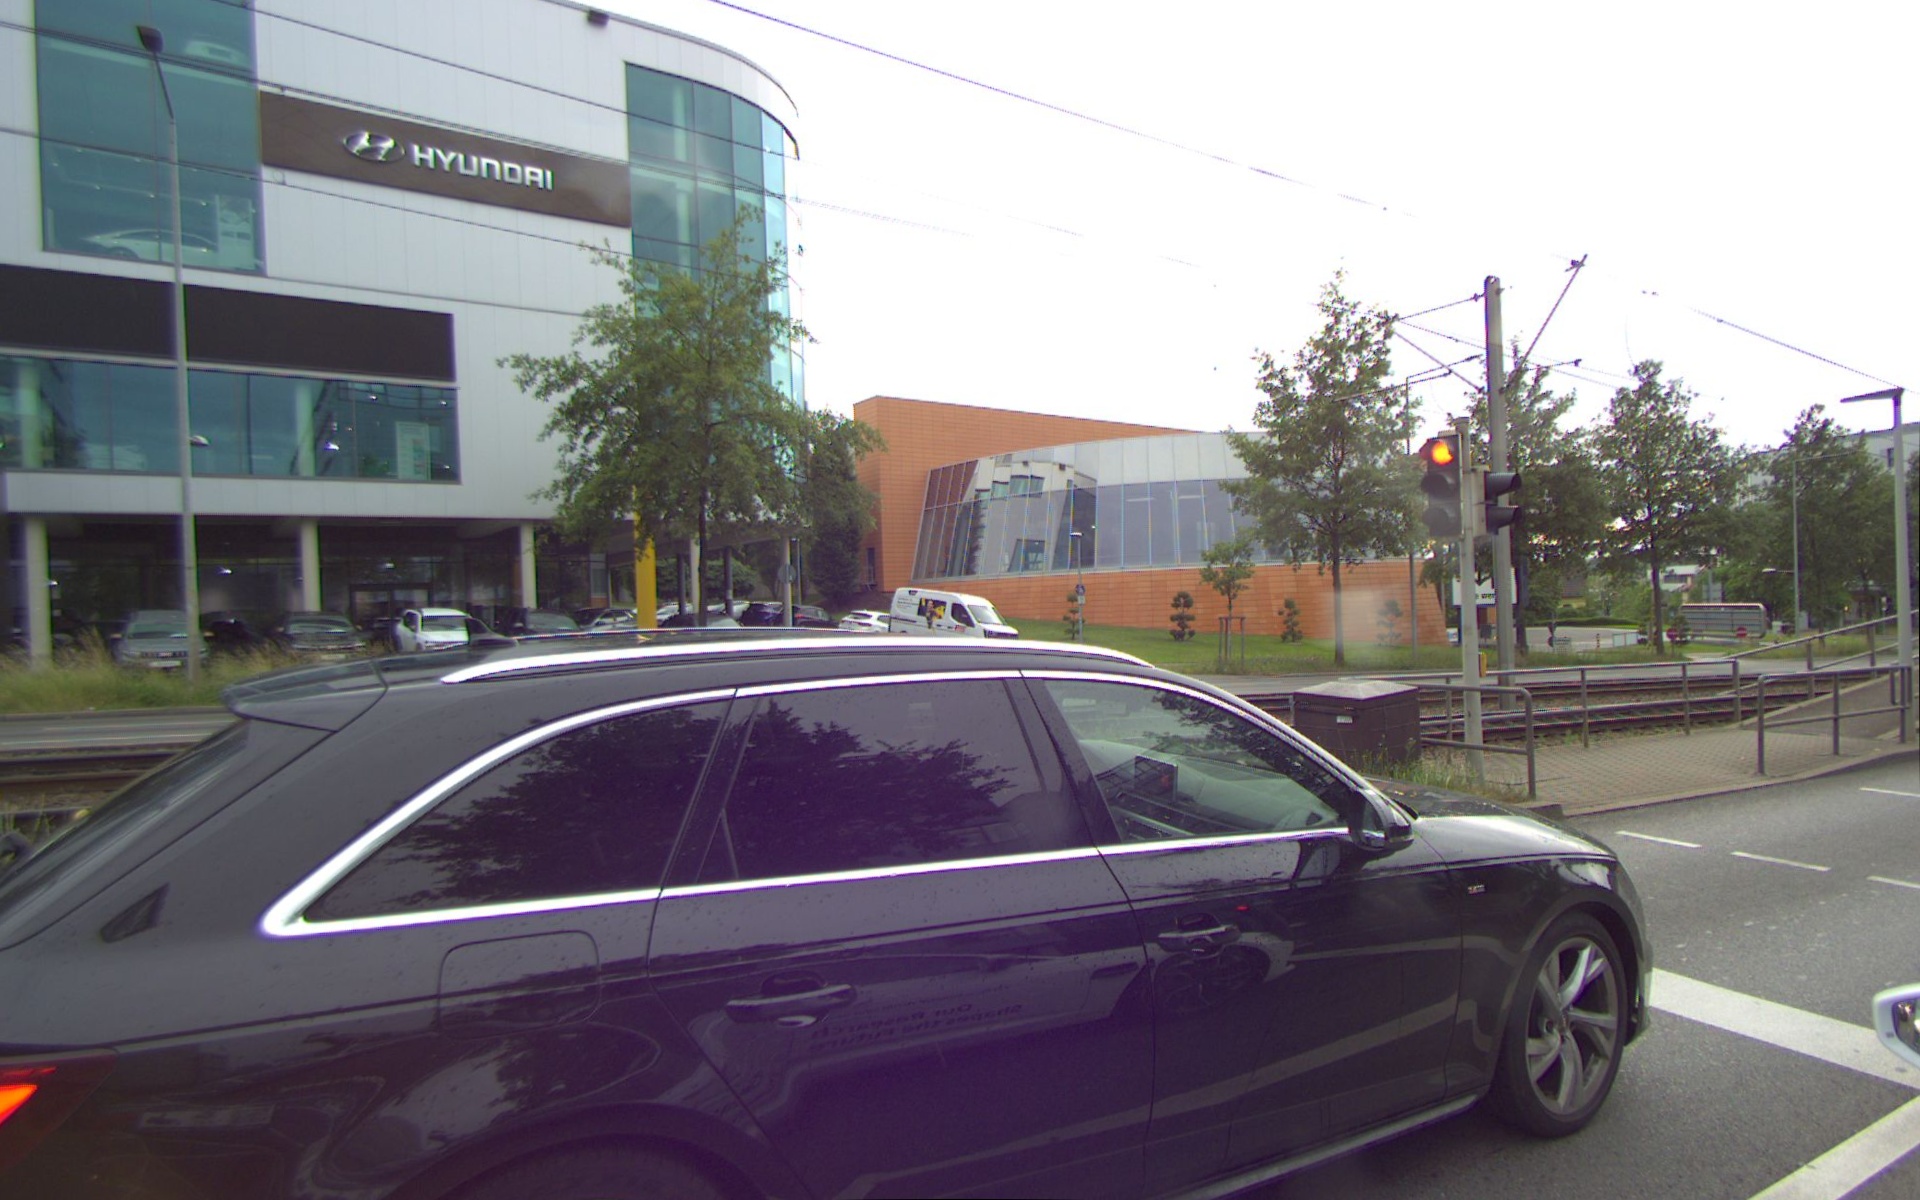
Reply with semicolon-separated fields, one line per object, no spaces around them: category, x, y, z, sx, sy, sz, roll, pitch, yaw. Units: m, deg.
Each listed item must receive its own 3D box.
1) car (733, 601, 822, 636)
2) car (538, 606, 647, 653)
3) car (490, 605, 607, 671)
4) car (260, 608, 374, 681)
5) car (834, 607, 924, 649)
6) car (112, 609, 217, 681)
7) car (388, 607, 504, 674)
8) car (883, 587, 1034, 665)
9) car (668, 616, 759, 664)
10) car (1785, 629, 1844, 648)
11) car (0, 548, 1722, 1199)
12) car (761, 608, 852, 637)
car;-8.875;0.908;49.080;1.969;1.653;3.982;0;-1;39
car;-12.840;1.011;35.341;1.691;1.572;3.587;0;-1;20
car;-12.289;1.077;29.865;1.984;1.637;4.324;1;1;-40
car;-16.964;1.105;26.392;1.984;1.571;4.324;1;1;-40
car;-3.347;1.160;42.161;1.703;1.688;3.734;1;-1;38
car;-19.874;1.059;25.066;1.917;1.479;3.974;1;1;-40
car;-14.507;1.074;28.248;1.984;1.571;4.324;1;1;-40
car;-0.127;0.912;38.111;5.544;2.616;2.392;3;1;43
car;-7.853;1.223;31.788;1.565;1.409;3.619;0;-1;-36
car;66.822;2.975;78.614;1.408;1.405;3.371;0;0;-13
car;0.096;0.718;2.861;4.461;1.486;1.772;1;-1;-31
car;-7.220;1.062;47.511;1.969;1.297;3.982;0;-1;39
